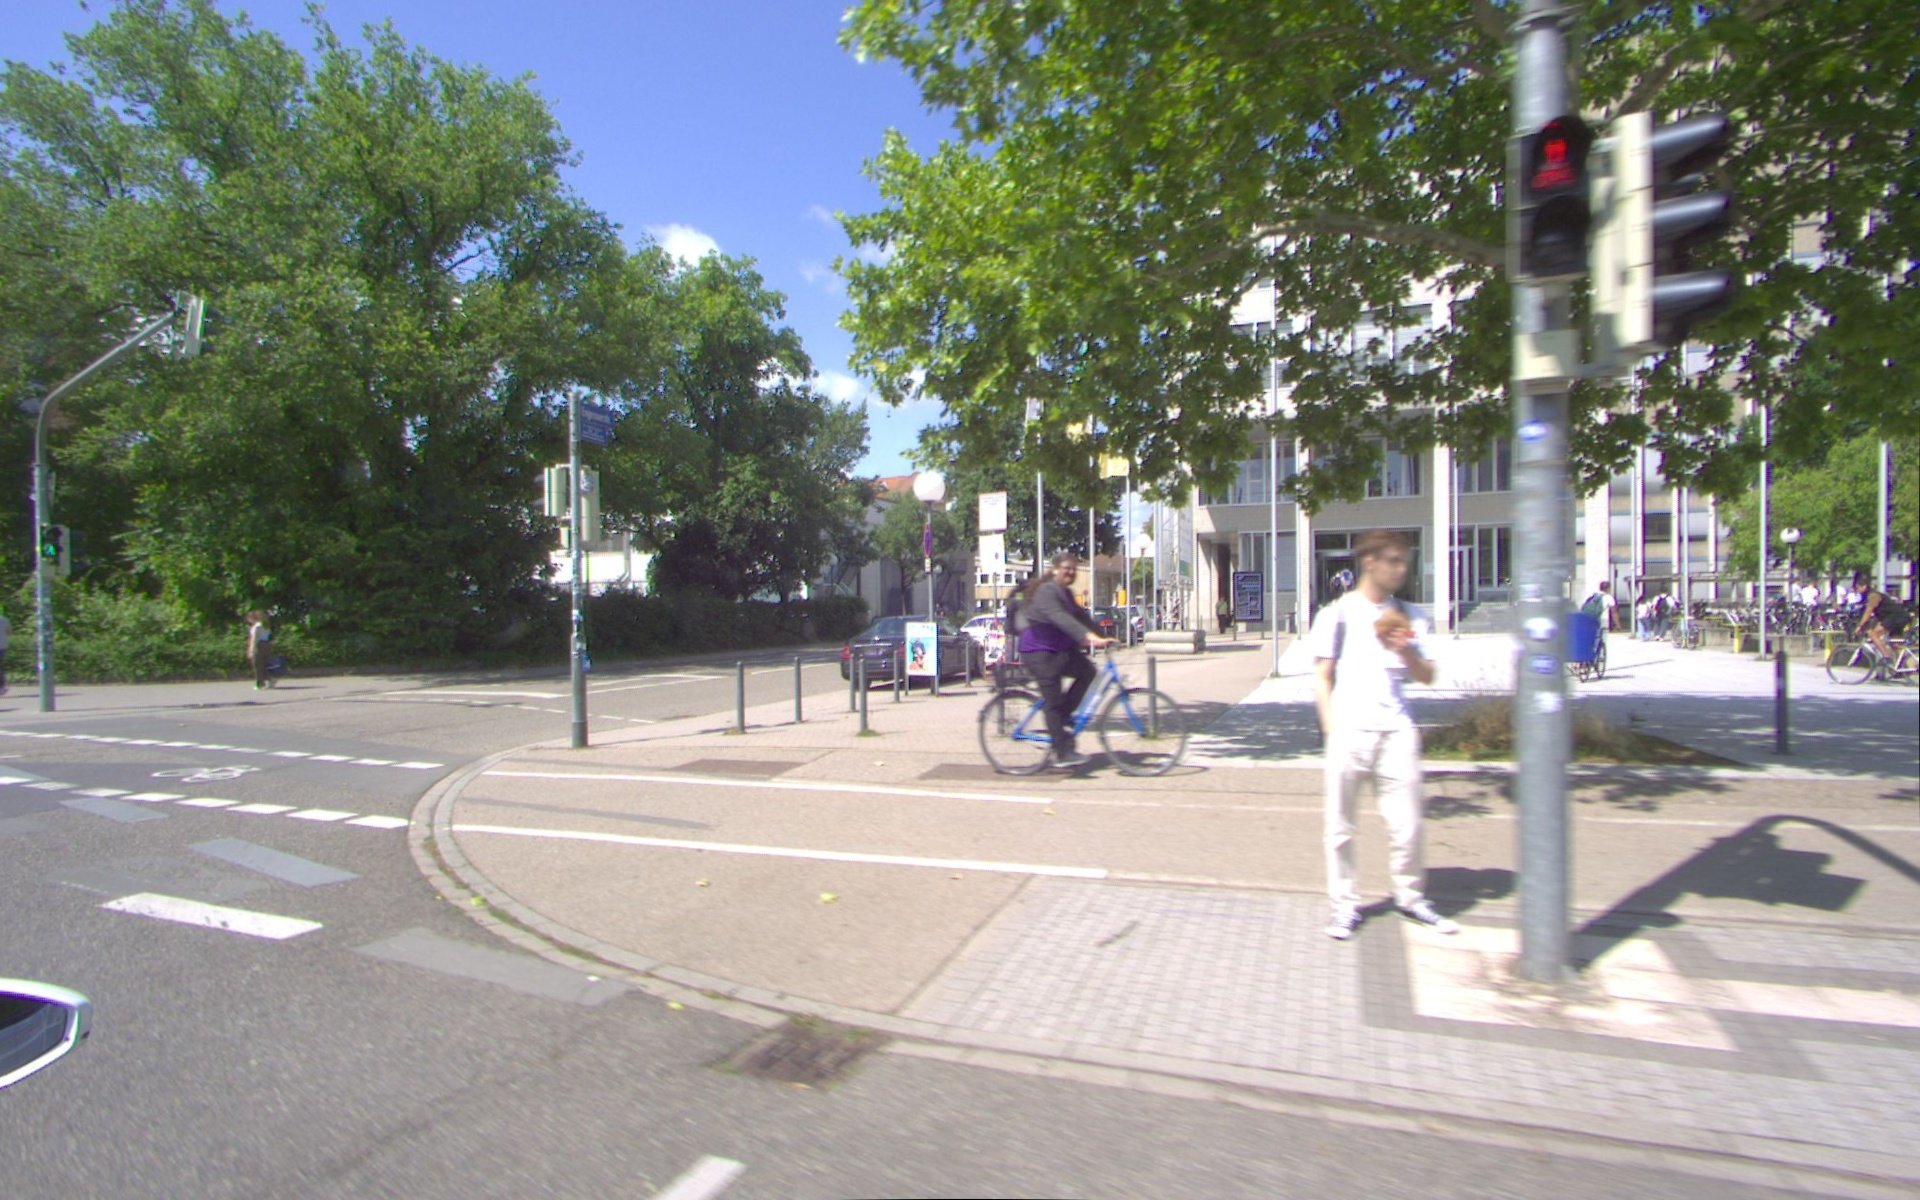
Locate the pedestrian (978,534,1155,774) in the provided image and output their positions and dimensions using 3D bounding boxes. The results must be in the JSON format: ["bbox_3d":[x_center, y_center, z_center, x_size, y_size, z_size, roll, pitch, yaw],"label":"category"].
[{"bbox_3d":[0.901,0.425,8.263,1.156,1.845,0.853,-3,3,22],"label":"pedestrian"}]

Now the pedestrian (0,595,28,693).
[{"bbox_3d":[-18.389,0.831,19.141,0.693,1.845,0.669,0,0,32],"label":"pedestrian"}]

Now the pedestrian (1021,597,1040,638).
[{"bbox_3d":[3.372,0.841,47.677,0.713,1.951,0.750,0,0,18],"label":"pedestrian"}]

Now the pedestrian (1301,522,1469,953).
[{"bbox_3d":[1.910,0.582,4.564,0.599,1.825,0.595,-1,2,13],"label":"pedestrian"}]

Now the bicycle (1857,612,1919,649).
[{"bbox_3d":[28.399,0.935,30.366,0.592,1.112,1.767,0,-2,-10],"label":"bicycle"}]

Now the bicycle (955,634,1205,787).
[{"bbox_3d":[0.990,0.874,8.247,1.859,1.087,0.815,-2,2,23],"label":"bicycle"}]

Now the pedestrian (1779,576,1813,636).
[{"bbox_3d":[32.257,0.237,38.639,0.622,2.257,0.716,0,-2,-9],"label":"pedestrian"}]

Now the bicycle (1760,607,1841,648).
[{"bbox_3d":[23.665,0.784,28.244,0.592,1.112,1.767,0,-2,-10],"label":"bicycle"}]

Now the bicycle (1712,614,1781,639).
[{"bbox_3d":[25.631,0.860,32.651,1.734,0.803,0.520,-1,0,9],"label":"bicycle"}]

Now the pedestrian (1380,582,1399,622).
[{"bbox_3d":[17.566,0.097,40.968,0.708,1.605,0.715,-1,-2,24],"label":"pedestrian"}]

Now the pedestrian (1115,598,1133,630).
[{"bbox_3d":[9.125,0.773,55.707,0.613,1.740,1.039,-1,0,-11],"label":"pedestrian"}]

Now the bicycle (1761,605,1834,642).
[{"bbox_3d":[25.947,0.743,31.070,0.592,1.112,1.767,0,-2,-10],"label":"bicycle"}]

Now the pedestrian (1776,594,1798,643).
[{"bbox_3d":[38.056,0.867,46.091,0.708,2.257,0.629,-1,-2,39],"label":"pedestrian"}]

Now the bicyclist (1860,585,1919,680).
[{"bbox_3d":[16.115,0.546,17.162,0.655,1.585,0.926,-1,0,-37],"label":"bicyclist"}]

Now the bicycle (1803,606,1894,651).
[{"bbox_3d":[22.891,0.749,25.834,0.592,1.112,1.767,0,-2,-10],"label":"bicycle"}]

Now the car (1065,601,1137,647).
[{"bbox_3d":[5.091,0.841,35.779,1.695,1.549,3.991,-1,-1,21],"label":"car"}]

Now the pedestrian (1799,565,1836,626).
[{"bbox_3d":[32.229,-0.142,37.627,0.622,2.257,0.855,0,-2,2],"label":"pedestrian"}]

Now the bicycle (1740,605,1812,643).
[{"bbox_3d":[25.239,0.760,31.010,0.592,1.112,1.767,0,-2,-10],"label":"bicycle"}]

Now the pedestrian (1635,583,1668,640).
[{"bbox_3d":[22.025,0.376,31.886,0.707,1.768,0.630,1,-2,-34],"label":"pedestrian"}]

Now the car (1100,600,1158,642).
[{"bbox_3d":[7.004,0.837,41.170,1.694,1.549,4.559,-2,-1,17],"label":"car"}]

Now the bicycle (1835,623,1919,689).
[{"bbox_3d":[16.347,0.942,16.950,0.892,1.092,2.140,0,-3,-35],"label":"bicycle"}]

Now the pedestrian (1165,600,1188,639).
[{"bbox_3d":[9.257,0.828,42.805,0.679,1.661,0.737,-1,0,-17],"label":"pedestrian"}]

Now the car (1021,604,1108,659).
[{"bbox_3d":[3.347,0.940,31.334,1.592,1.516,4.136,-3,-1,21],"label":"car"}]

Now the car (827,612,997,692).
[{"bbox_3d":[-0.836,1.000,20.934,1.694,1.418,4.937,-3,-1,21],"label":"car"}]

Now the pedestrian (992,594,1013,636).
[{"bbox_3d":[1.992,0.707,47.248,0.777,1.951,0.588,0,0,43],"label":"pedestrian"}]

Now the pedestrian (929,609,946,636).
[{"bbox_3d":[-1.292,1.295,57.647,0.839,1.540,0.519,-1,-2,24],"label":"pedestrian"}]

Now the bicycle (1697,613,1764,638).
[{"bbox_3d":[25.947,0.868,33.739,1.734,0.803,0.520,-1,0,9],"label":"bicycle"}]

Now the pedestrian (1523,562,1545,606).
[{"bbox_3d":[24.780,-0.686,43.244,0.708,1.820,0.715,-1,-2,24],"label":"pedestrian"}]

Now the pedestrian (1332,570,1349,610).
[{"bbox_3d":[16.312,-0.421,42.944,0.624,1.687,0.715,-1,-2,23],"label":"pedestrian"}]

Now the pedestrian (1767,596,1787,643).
[{"bbox_3d":[39.068,0.941,47.896,0.708,2.257,0.629,-1,-2,39],"label":"pedestrian"}]

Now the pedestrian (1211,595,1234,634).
[{"bbox_3d":[12.072,0.671,46.045,0.905,1.763,0.999,-1,0,21],"label":"pedestrian"}]

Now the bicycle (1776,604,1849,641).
[{"bbox_3d":[26.636,0.721,31.316,0.592,1.112,1.767,0,-2,-10],"label":"bicycle"}]

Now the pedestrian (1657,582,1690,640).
[{"bbox_3d":[22.459,0.358,31.519,0.707,1.768,0.630,1,-2,-34],"label":"pedestrian"}]

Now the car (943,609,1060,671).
[{"bbox_3d":[1.186,0.984,26.107,1.695,1.418,4.429,-3,-2,21],"label":"car"}]

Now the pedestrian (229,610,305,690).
[{"bbox_3d":[-14.685,1.047,21.243,1.000,1.648,0.857,1,2,-1],"label":"pedestrian"}]

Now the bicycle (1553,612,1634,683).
[{"bbox_3d":[12.320,0.918,19.464,1.850,1.313,0.658,1,-2,-35],"label":"bicycle"}]

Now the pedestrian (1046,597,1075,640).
[{"bbox_3d":[4.625,0.865,46.061,1.080,1.945,1.018,0,0,22],"label":"pedestrian"}]

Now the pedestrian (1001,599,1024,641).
[{"bbox_3d":[2.499,0.945,47.751,0.776,1.951,0.728,0,0,43],"label":"pedestrian"}]

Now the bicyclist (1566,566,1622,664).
[{"bbox_3d":[12.357,0.308,19.511,0.752,1.868,0.658,1,-2,-34],"label":"bicyclist"}]
